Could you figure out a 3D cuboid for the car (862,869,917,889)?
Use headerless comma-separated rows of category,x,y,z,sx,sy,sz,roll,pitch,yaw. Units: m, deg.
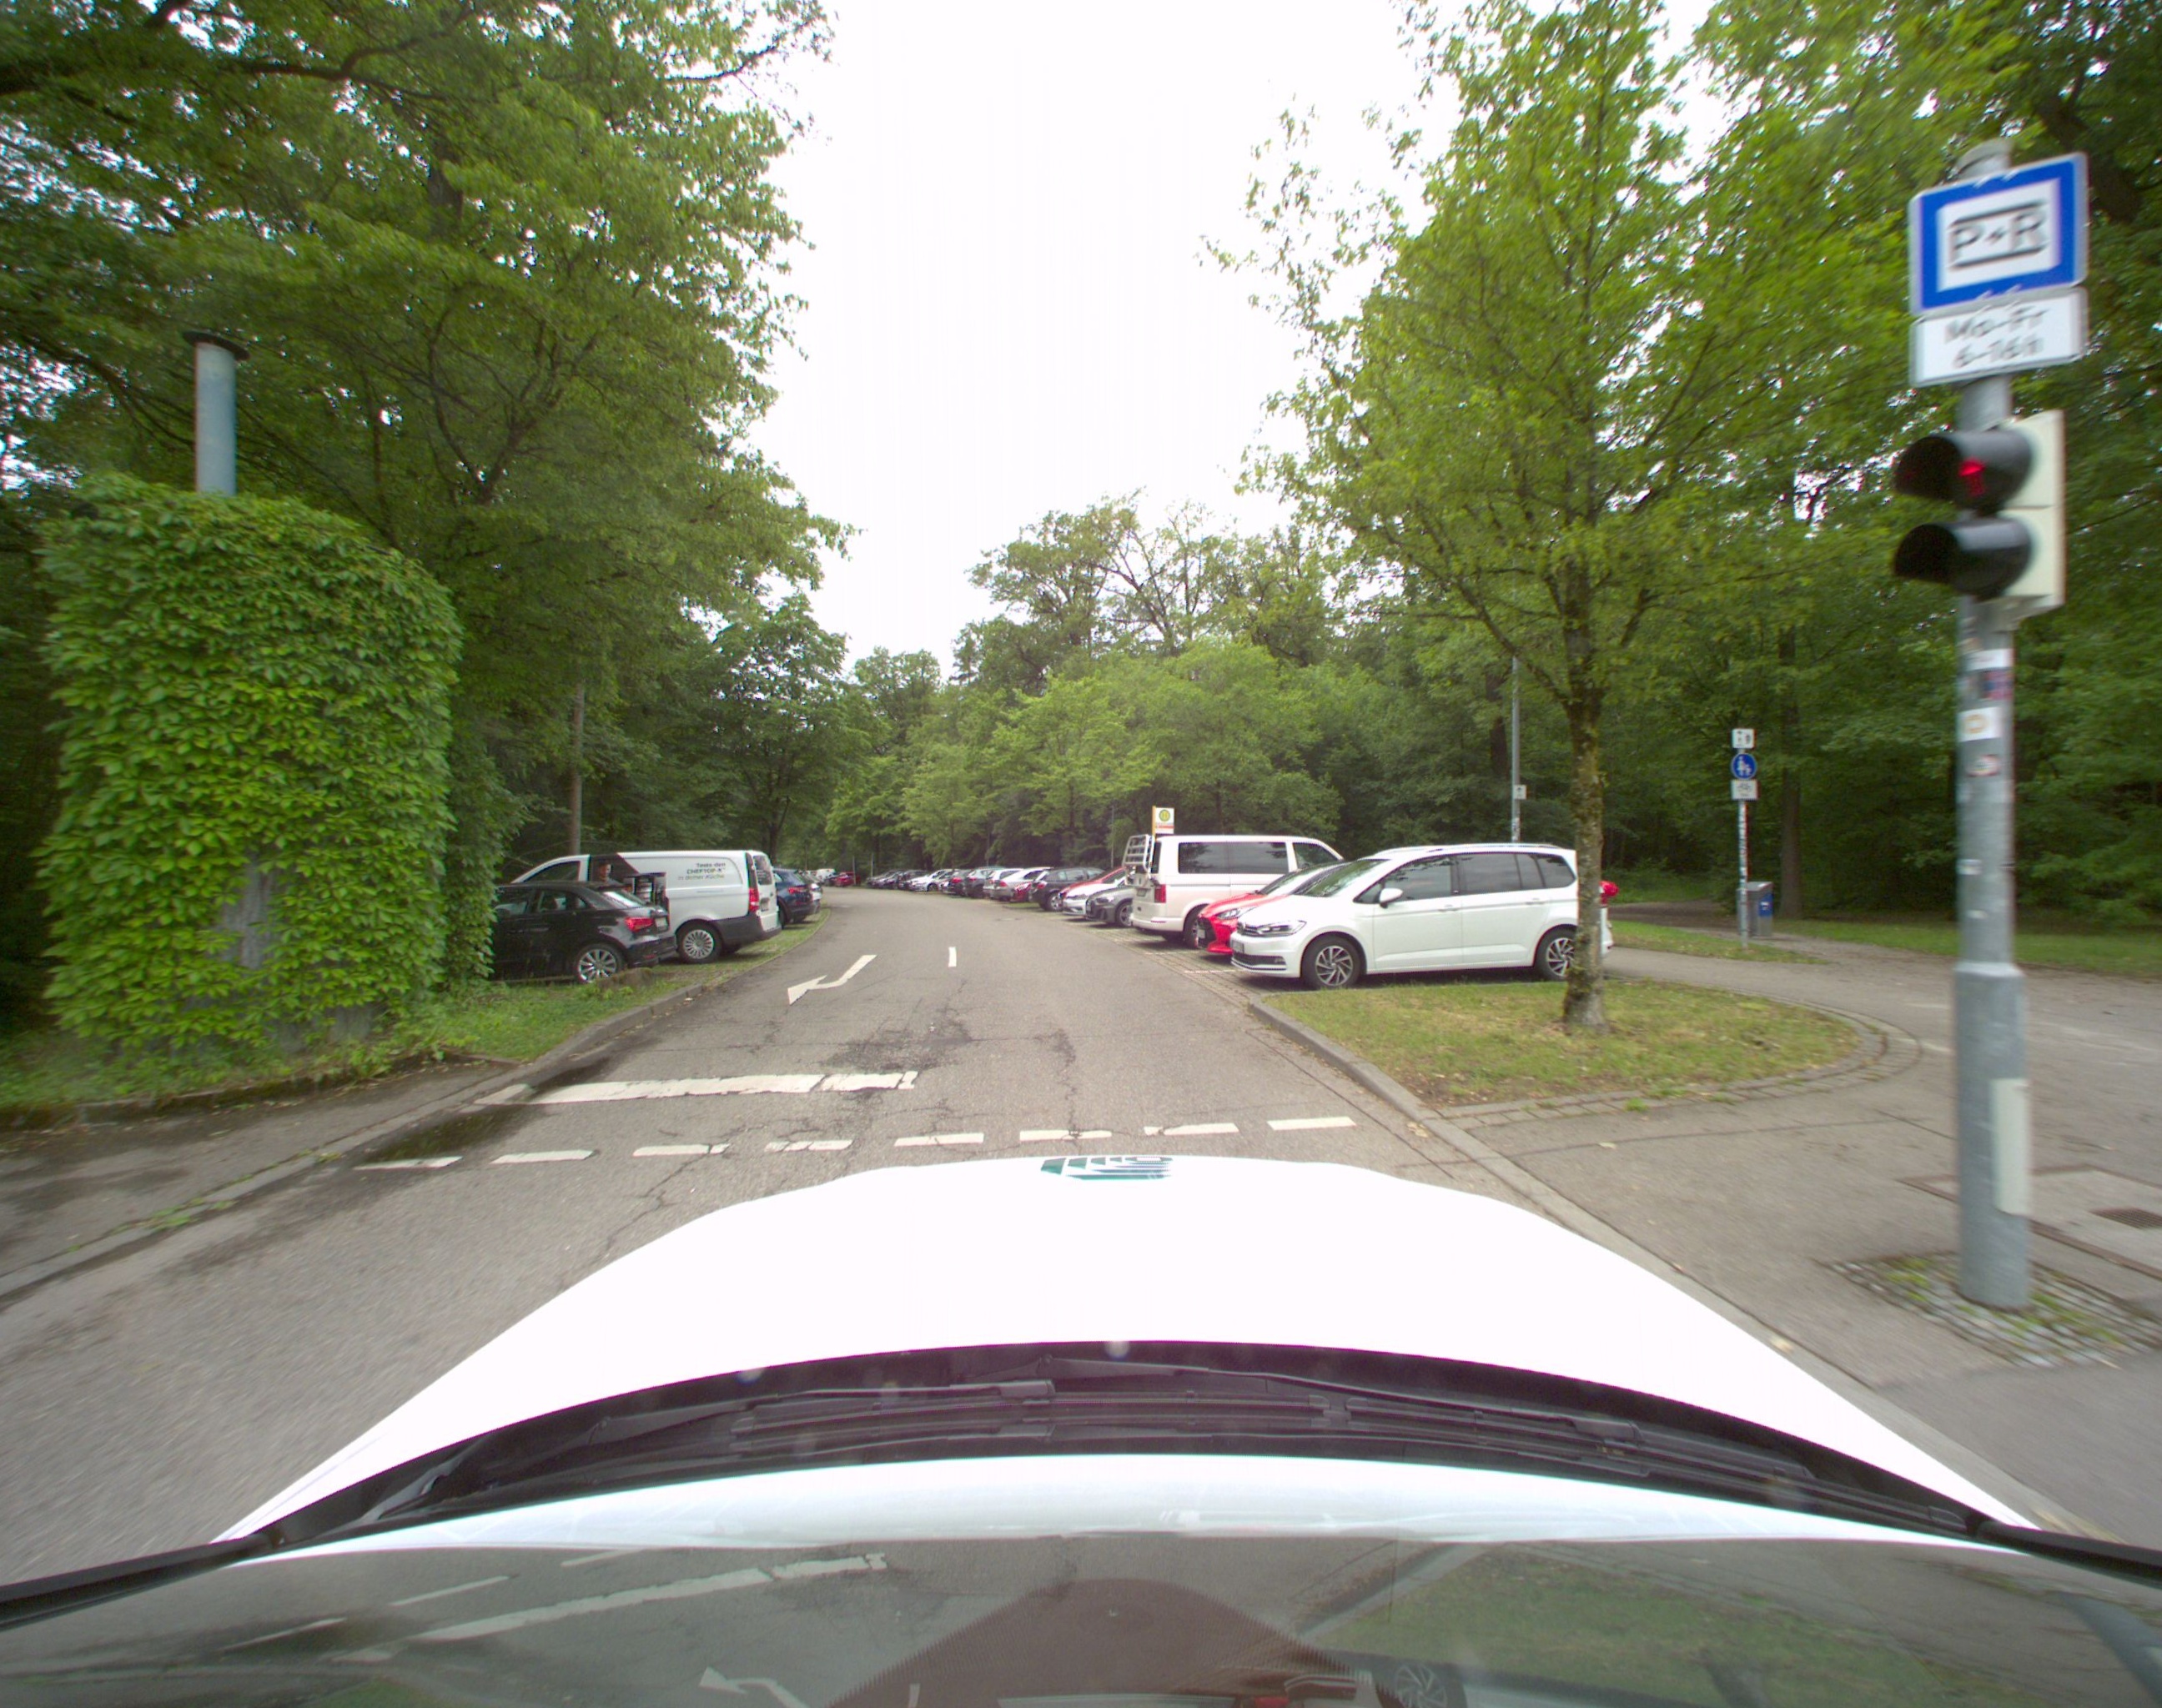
car,-16.381,2.111,69.603,4.289,1.666,1.940,0,-1,-27

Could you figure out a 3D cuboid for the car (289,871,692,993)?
car,-7.611,0.954,10.918,3.988,1.379,1.716,-1,-1,-11

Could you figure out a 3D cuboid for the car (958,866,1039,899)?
car,-4.207,1.424,41.426,3.780,1.590,1.936,0,-1,-20

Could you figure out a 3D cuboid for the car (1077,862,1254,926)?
car,2.036,0.996,20.132,3.991,1.484,1.868,1,-3,-13

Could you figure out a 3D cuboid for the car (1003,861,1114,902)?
car,-0.914,1.071,32.407,3.999,1.450,1.928,-1,-1,-19

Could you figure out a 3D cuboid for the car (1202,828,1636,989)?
car,3.992,0.607,10.166,4.514,1.693,2.161,-1,-1,-6

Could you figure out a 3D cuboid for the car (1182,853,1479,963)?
car,3.732,0.783,12.628,3.990,1.555,1.943,1,0,-5

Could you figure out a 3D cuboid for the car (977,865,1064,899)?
car,-2.925,1.336,39.354,3.857,1.546,1.718,-1,-1,-21

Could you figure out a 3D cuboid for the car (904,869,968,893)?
car,-9.923,1.820,55.807,4.025,1.559,1.963,0,-1,-23

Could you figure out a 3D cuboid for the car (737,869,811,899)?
car,-18.444,1.766,49.118,3.968,1.628,1.987,-1,-1,-16

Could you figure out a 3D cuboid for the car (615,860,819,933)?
car,-9.171,1.033,20.958,4.429,1.694,2.161,0,-1,-13

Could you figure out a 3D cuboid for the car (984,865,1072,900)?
car,-2.436,1.285,37.190,3.713,1.511,1.740,-1,-2,-19

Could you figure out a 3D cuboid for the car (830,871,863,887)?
car,-22.439,2.379,77.880,2.005,1.479,4.924,0,-1,-29

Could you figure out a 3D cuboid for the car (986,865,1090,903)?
car,-1.849,1.269,34.890,4.137,1.461,1.854,-1,-2,-17

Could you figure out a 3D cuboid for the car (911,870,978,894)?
car,-8.955,1.823,53.480,3.998,1.484,1.867,0,-1,-27

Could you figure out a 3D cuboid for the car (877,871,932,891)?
car,-14.075,2.150,64.967,4.007,1.475,1.936,0,-1,-26

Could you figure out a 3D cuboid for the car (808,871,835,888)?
car,-27.814,2.703,87.306,1.756,1.780,4.506,0,-1,-31

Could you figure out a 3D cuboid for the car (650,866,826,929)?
car,-9.693,1.206,23.408,4.362,1.598,2.020,-1,-1,-15

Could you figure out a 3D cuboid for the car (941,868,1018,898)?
car,-5.478,1.531,43.994,3.785,1.481,1.759,0,-1,-24

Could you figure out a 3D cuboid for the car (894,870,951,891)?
car,-11.790,1.972,60.611,3.846,1.457,1.793,-1,-2,-25

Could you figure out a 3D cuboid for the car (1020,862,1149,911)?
car,0.098,1.064,27.461,3.994,1.483,1.912,-1,-1,-15

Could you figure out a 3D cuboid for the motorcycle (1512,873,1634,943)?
motorcycle,9.066,0.962,15.114,0.676,1.160,2.000,0,0,-17

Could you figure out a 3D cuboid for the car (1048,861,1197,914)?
car,1.242,1.004,25.126,4.236,1.480,1.909,-1,-2,-15

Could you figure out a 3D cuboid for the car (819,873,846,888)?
car,-25.259,2.704,82.689,1.736,1.423,4.243,0,-1,-29

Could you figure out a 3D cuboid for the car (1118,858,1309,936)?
car,2.868,0.910,17.972,3.726,1.554,1.838,1,1,-13

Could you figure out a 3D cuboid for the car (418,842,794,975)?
car,-7.745,0.833,13.841,5.087,1.915,1.971,-1,-1,-11

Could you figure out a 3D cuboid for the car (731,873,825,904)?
car,-16.466,1.834,44.330,4.658,1.478,2.079,-1,-1,-23

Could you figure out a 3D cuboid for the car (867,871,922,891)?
car,-15.325,2.188,67.054,4.014,1.552,1.955,0,-2,-33

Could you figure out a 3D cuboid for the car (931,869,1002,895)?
car,-6.904,1.667,49.207,3.819,1.441,1.852,0,-1,-31

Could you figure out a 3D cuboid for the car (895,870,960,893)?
car,-10.975,1.930,58.087,4.210,1.512,1.876,0,-1,-27

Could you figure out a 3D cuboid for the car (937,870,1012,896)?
car,-6.092,1.633,46.556,3.948,1.411,1.864,0,-1,-22

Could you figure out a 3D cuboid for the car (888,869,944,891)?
car,-12.673,1.961,62.652,3.847,1.531,1.835,-1,-1,-27

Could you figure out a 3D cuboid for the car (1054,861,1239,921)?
car,1.758,0.959,22.446,4.775,1.476,1.845,-1,0,-12

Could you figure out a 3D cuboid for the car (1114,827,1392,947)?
car,3.135,0.596,15.259,4.651,2.021,2.075,1,0,-12
